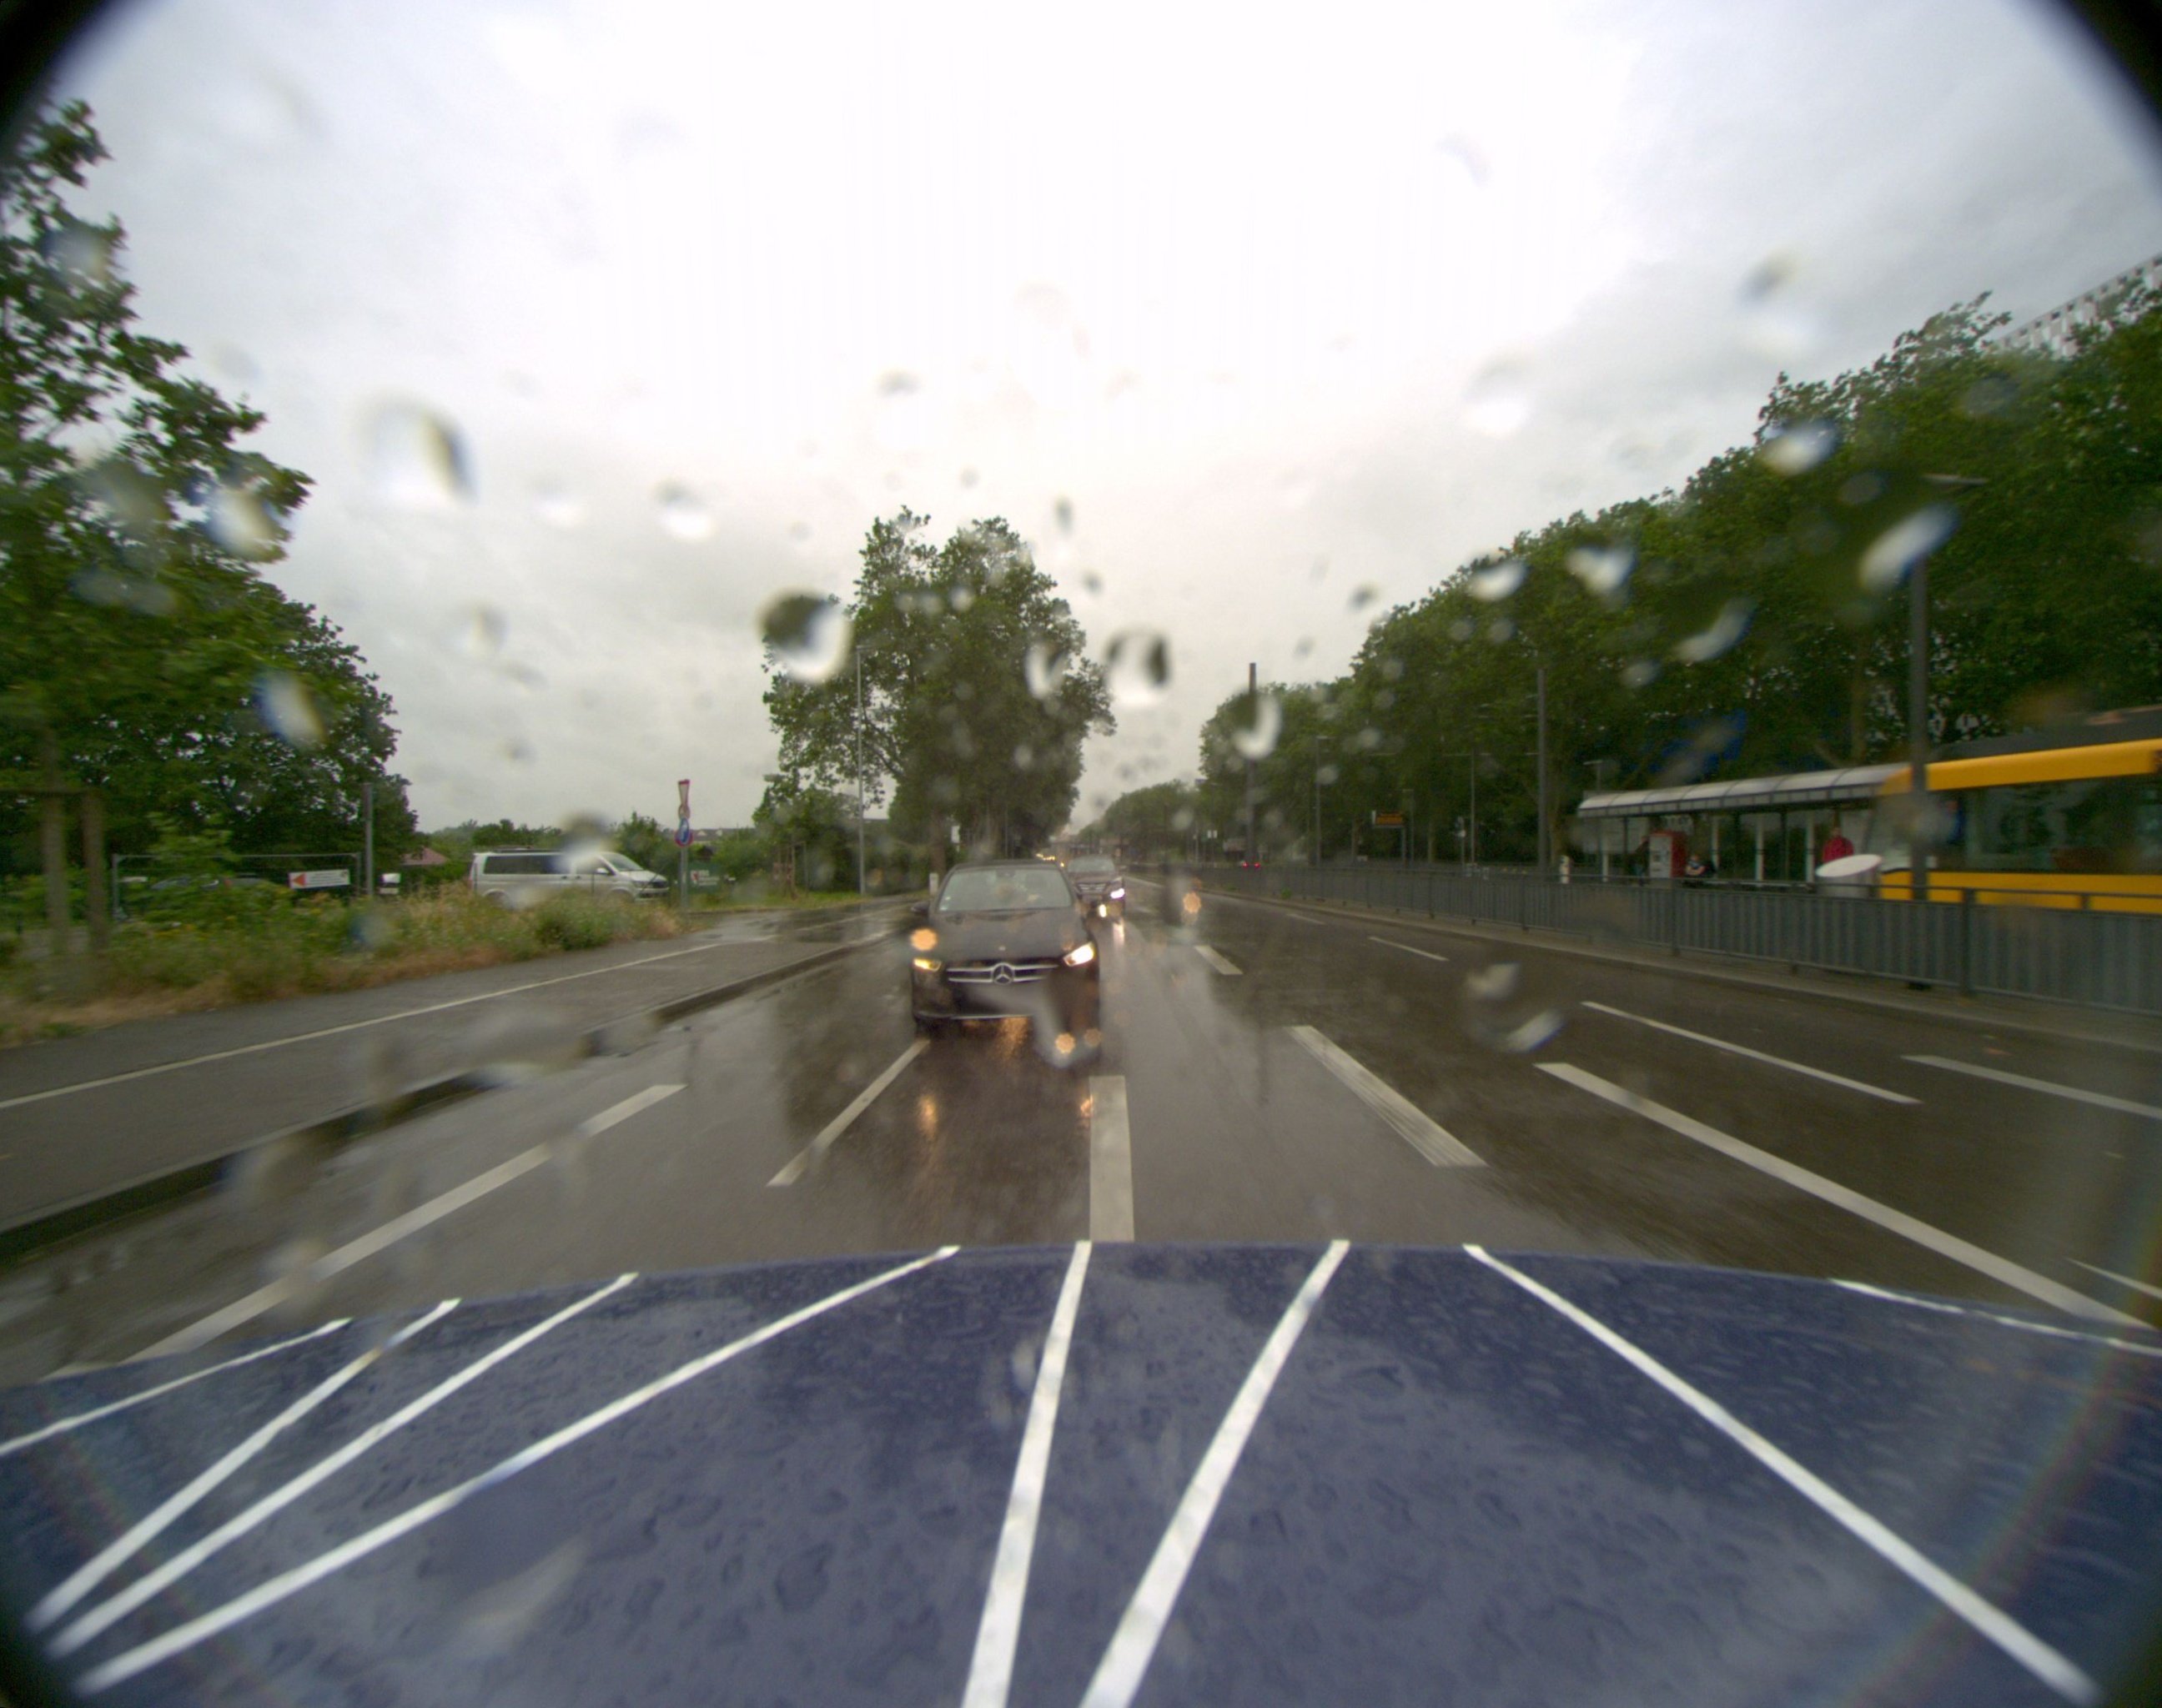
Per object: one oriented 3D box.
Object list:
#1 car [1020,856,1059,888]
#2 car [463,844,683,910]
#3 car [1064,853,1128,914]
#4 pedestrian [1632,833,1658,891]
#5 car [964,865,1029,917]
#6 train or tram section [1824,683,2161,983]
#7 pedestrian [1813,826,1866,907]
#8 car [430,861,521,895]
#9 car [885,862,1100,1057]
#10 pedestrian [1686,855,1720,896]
[{"bbox_3d":[-2.166,0.945,40.547,1.707,1.499,3.879,-2,1,1],"label":"car"},{"bbox_3d":[-15.289,0.658,23.135,5.176,1.716,2.005,-2,1,-4],"label":"car"},{"bbox_3d":[0.343,0.787,22.183,1.689,1.611,3.999,0,0,-1],"label":"car"},{"bbox_3d":[18.372,0.249,24.761,0.481,1.872,0.462,-2,2,-11],"label":"pedestrian"},{"bbox_3d":[-2.446,1.047,22.695,1.601,1.358,3.630,0,0,-1],"label":"car"},{"bbox_3d":[15.692,-0.290,6.002,3.752,3.777,15.564,-2,1,-3],"label":"train or tram section"},{"bbox_3d":[18.252,0.290,18.295,0.621,1.901,0.671,-2,2,-11],"label":"pedestrian"},{"bbox_3d":[-31.124,1.224,39.091,3.553,1.575,1.345,-2,1,2],"label":"car"},{"bbox_3d":[-0.791,0.907,8.484,1.759,1.572,4.168,-2,0,-1],"label":"car"},{"bbox_3d":[18.465,0.626,22.545,0.520,1.193,0.580,-2,2,-11],"label":"pedestrian"}]
